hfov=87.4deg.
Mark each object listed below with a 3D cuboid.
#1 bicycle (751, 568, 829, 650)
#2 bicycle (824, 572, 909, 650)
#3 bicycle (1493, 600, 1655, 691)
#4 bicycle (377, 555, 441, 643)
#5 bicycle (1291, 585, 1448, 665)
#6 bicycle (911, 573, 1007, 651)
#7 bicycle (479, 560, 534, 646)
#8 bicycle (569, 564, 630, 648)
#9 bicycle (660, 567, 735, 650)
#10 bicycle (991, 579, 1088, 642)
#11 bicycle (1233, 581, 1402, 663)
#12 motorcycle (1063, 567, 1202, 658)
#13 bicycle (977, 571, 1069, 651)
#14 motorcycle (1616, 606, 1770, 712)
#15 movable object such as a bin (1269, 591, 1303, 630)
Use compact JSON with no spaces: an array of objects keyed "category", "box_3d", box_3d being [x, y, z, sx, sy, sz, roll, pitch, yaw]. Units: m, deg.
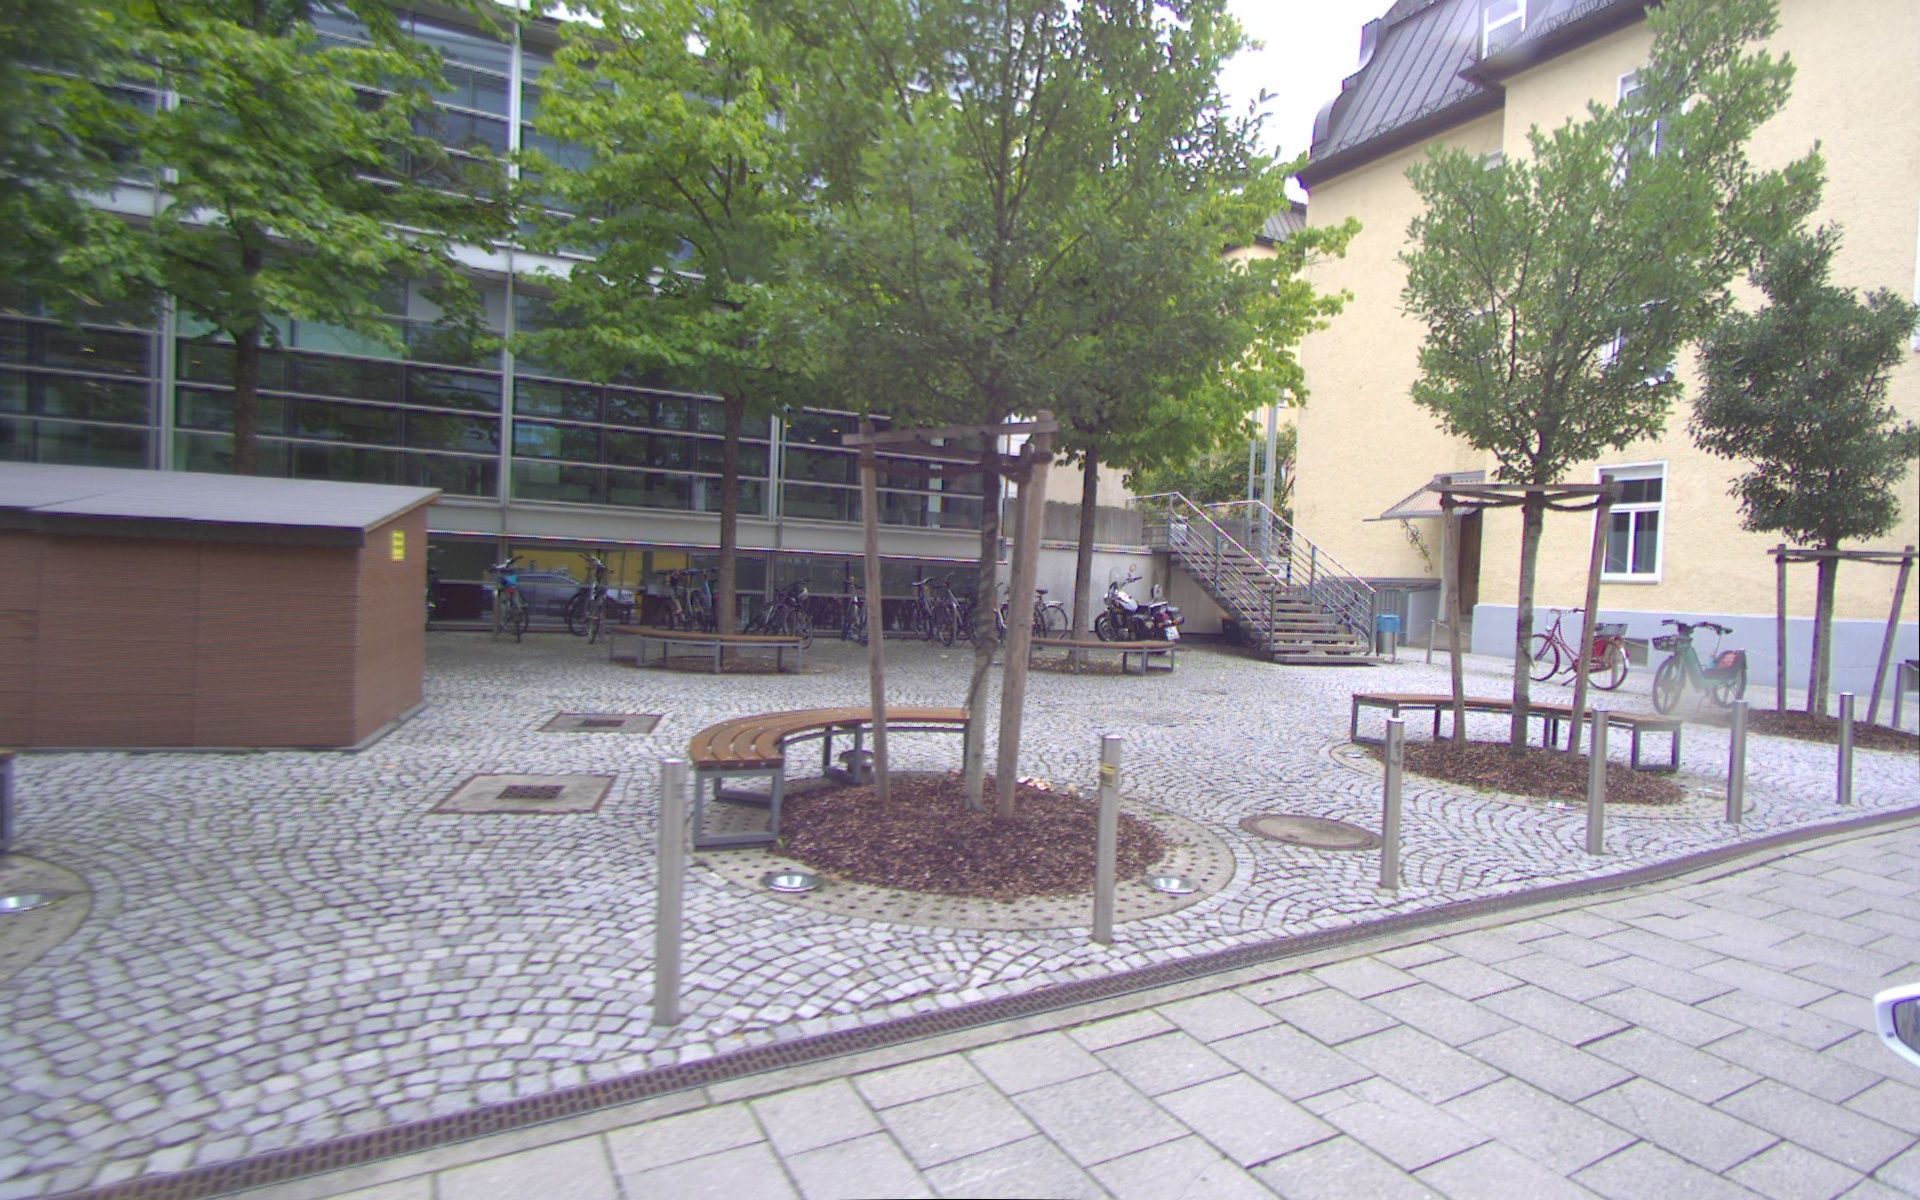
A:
[{"category":"bicycle","box_3d":[-2.585,0.106,15.109,0.657,1.121,1.891,2,2,-25]},{"category":"bicycle","box_3d":[-1.489,0.140,15.688,0.698,1.090,1.891,2,2,-25]},{"category":"bicycle","box_3d":[9.248,0.663,15.231,0.737,1.188,1.968,2,2,-25]},{"category":"bicycle","box_3d":[-7.170,-0.035,13.121,0.620,1.074,1.566,2,2,-26]},{"category":"bicycle","box_3d":[7.643,0.426,18.951,0.757,1.268,2.839,1,3,-29]},{"category":"bicycle","box_3d":[-0.047,0.168,16.398,0.815,1.141,1.891,2,2,-25]},{"category":"bicycle","box_3d":[-6.112,0.017,13.506,0.620,1.074,1.566,2,2,-26]},{"category":"bicycle","box_3d":[-5.021,0.062,13.946,0.620,1.074,1.566,2,2,-26]},{"category":"bicycle","box_3d":[-3.806,0.097,14.449,0.695,1.073,1.891,2,2,-25]},{"category":"bicycle","box_3d":[1.462,0.199,18.372,1.771,1.106,0.414,2,1,-26]},{"category":"bicycle","box_3d":[6.515,0.358,18.610,0.757,1.268,3.209,1,3,-29]},{"category":"motorcycle","box_3d":[2.896,0.169,17.252,0.957,1.431,2.657,2,1,-25]},{"category":"bicycle","box_3d":[1.022,0.159,16.893,0.688,1.220,1.891,2,2,-25]},{"category":"motorcycle","box_3d":[8.957,0.720,12.258,1.954,1.188,0.574,2,2,-25]},{"category":"movable object such as a bin","box_3d":[8.461,0.274,26.053,0.640,0.984,0.475,2,3,-26]}]
